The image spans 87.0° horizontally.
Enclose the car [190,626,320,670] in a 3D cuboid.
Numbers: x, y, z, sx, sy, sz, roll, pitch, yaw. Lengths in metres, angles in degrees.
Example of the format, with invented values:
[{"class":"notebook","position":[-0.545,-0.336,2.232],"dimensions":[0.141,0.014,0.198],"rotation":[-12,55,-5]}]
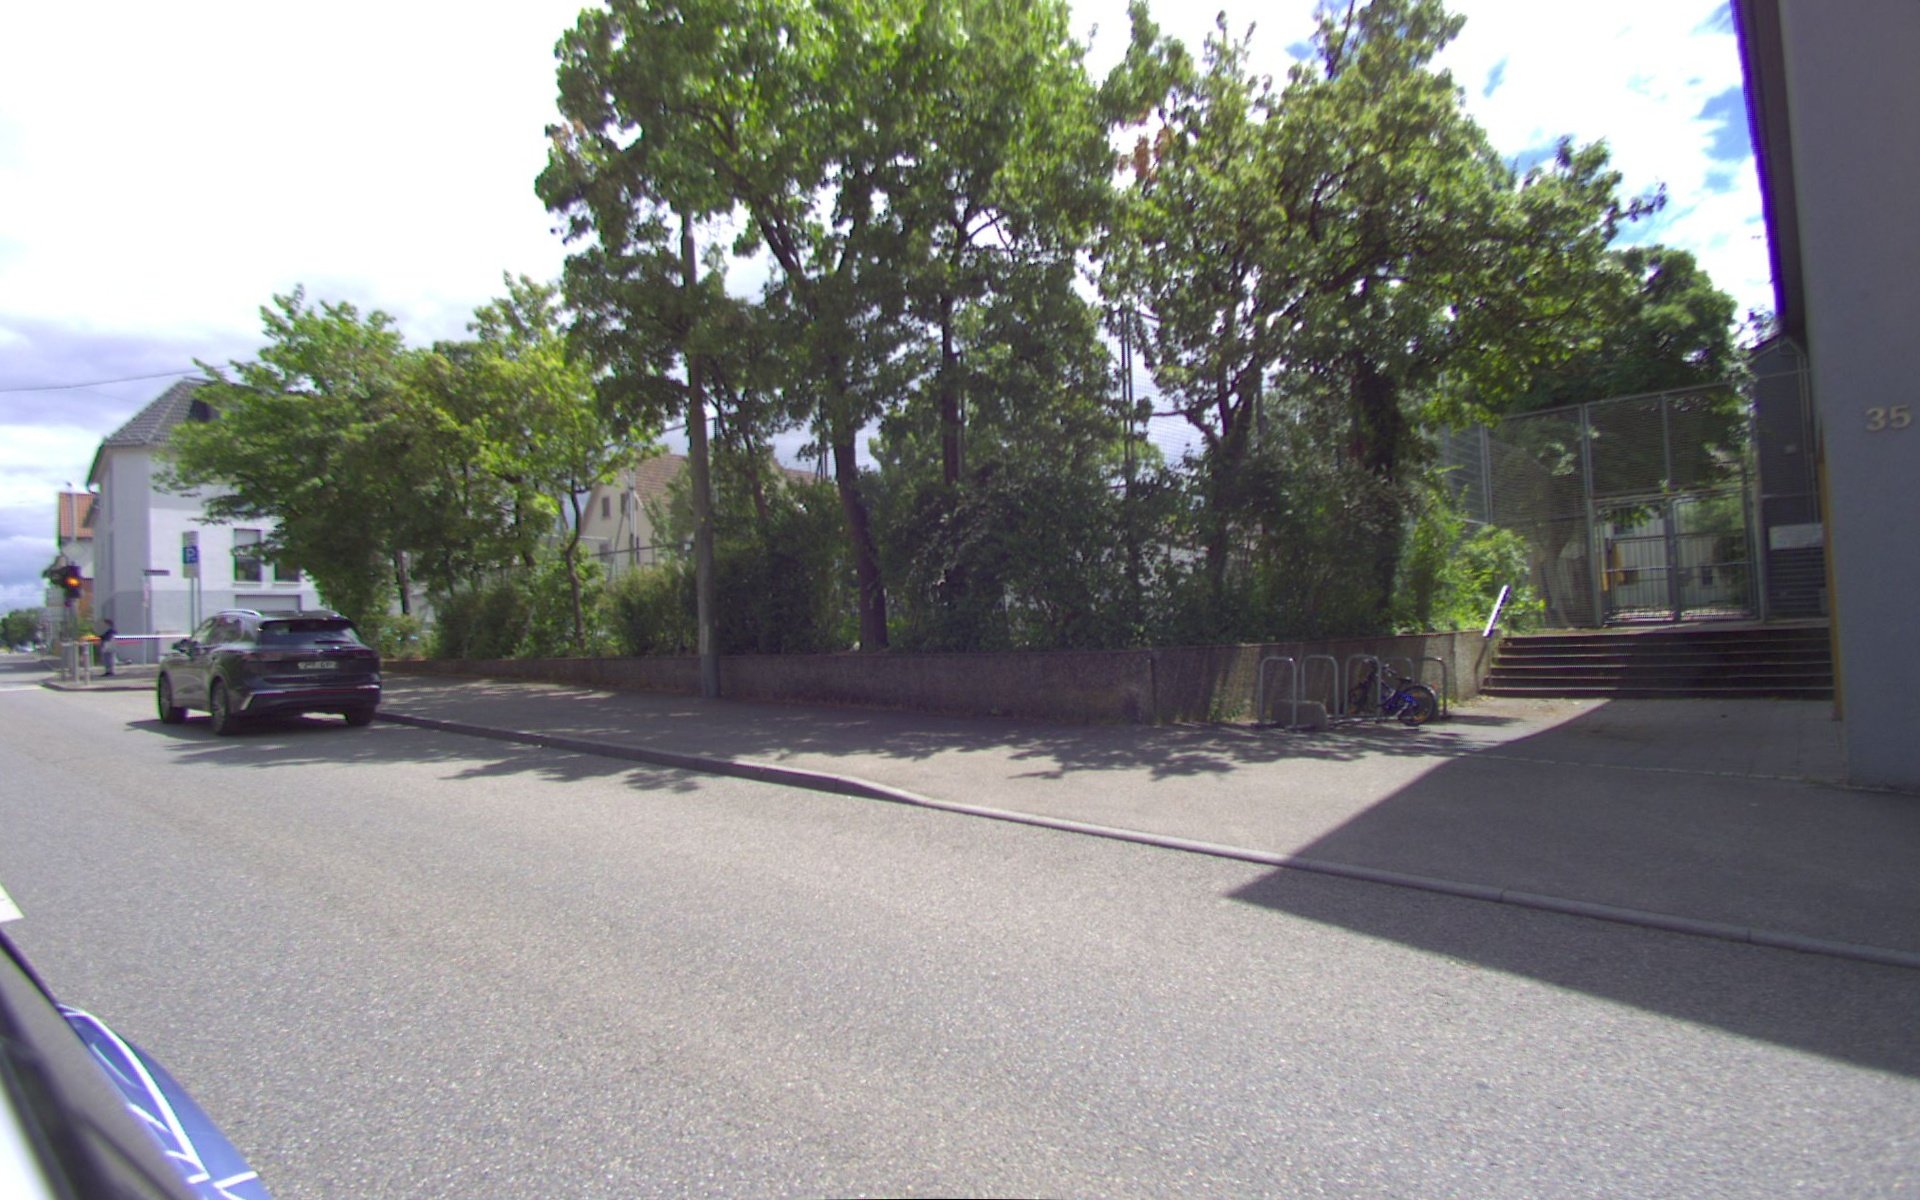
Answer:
[{"class":"car","position":[-28.337,1.919,40.755],"dimensions":[1.857,1.488,3.946],"rotation":[-5,-3,40]}]

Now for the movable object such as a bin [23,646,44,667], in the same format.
[{"class":"movable object such as a bin","position":[-67.746,4.134,73.993],"dimensions":[0.803,1.167,0.758],"rotation":[12,25,42]}]

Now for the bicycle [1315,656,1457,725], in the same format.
[{"class":"bicycle","position":[5.050,1.056,12.047],"dimensions":[1.443,0.756,0.580],"rotation":[-2,-4,44]}]

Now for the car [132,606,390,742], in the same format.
[{"class":"car","position":[-10.110,0.988,14.494],"dimensions":[4.640,1.622,1.778],"rotation":[-3,-1,39]}]

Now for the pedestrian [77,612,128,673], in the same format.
[{"class":"pedestrian","position":[-23.437,1.146,27.671],"dimensions":[0.663,1.609,0.771],"rotation":[-2,0,5]}]

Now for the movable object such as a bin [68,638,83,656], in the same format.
[{"class":"movable object such as a bin","position":[-54.498,2.920,62.337],"dimensions":[0.660,1.083,0.633],"rotation":[-3,-1,43]}]
